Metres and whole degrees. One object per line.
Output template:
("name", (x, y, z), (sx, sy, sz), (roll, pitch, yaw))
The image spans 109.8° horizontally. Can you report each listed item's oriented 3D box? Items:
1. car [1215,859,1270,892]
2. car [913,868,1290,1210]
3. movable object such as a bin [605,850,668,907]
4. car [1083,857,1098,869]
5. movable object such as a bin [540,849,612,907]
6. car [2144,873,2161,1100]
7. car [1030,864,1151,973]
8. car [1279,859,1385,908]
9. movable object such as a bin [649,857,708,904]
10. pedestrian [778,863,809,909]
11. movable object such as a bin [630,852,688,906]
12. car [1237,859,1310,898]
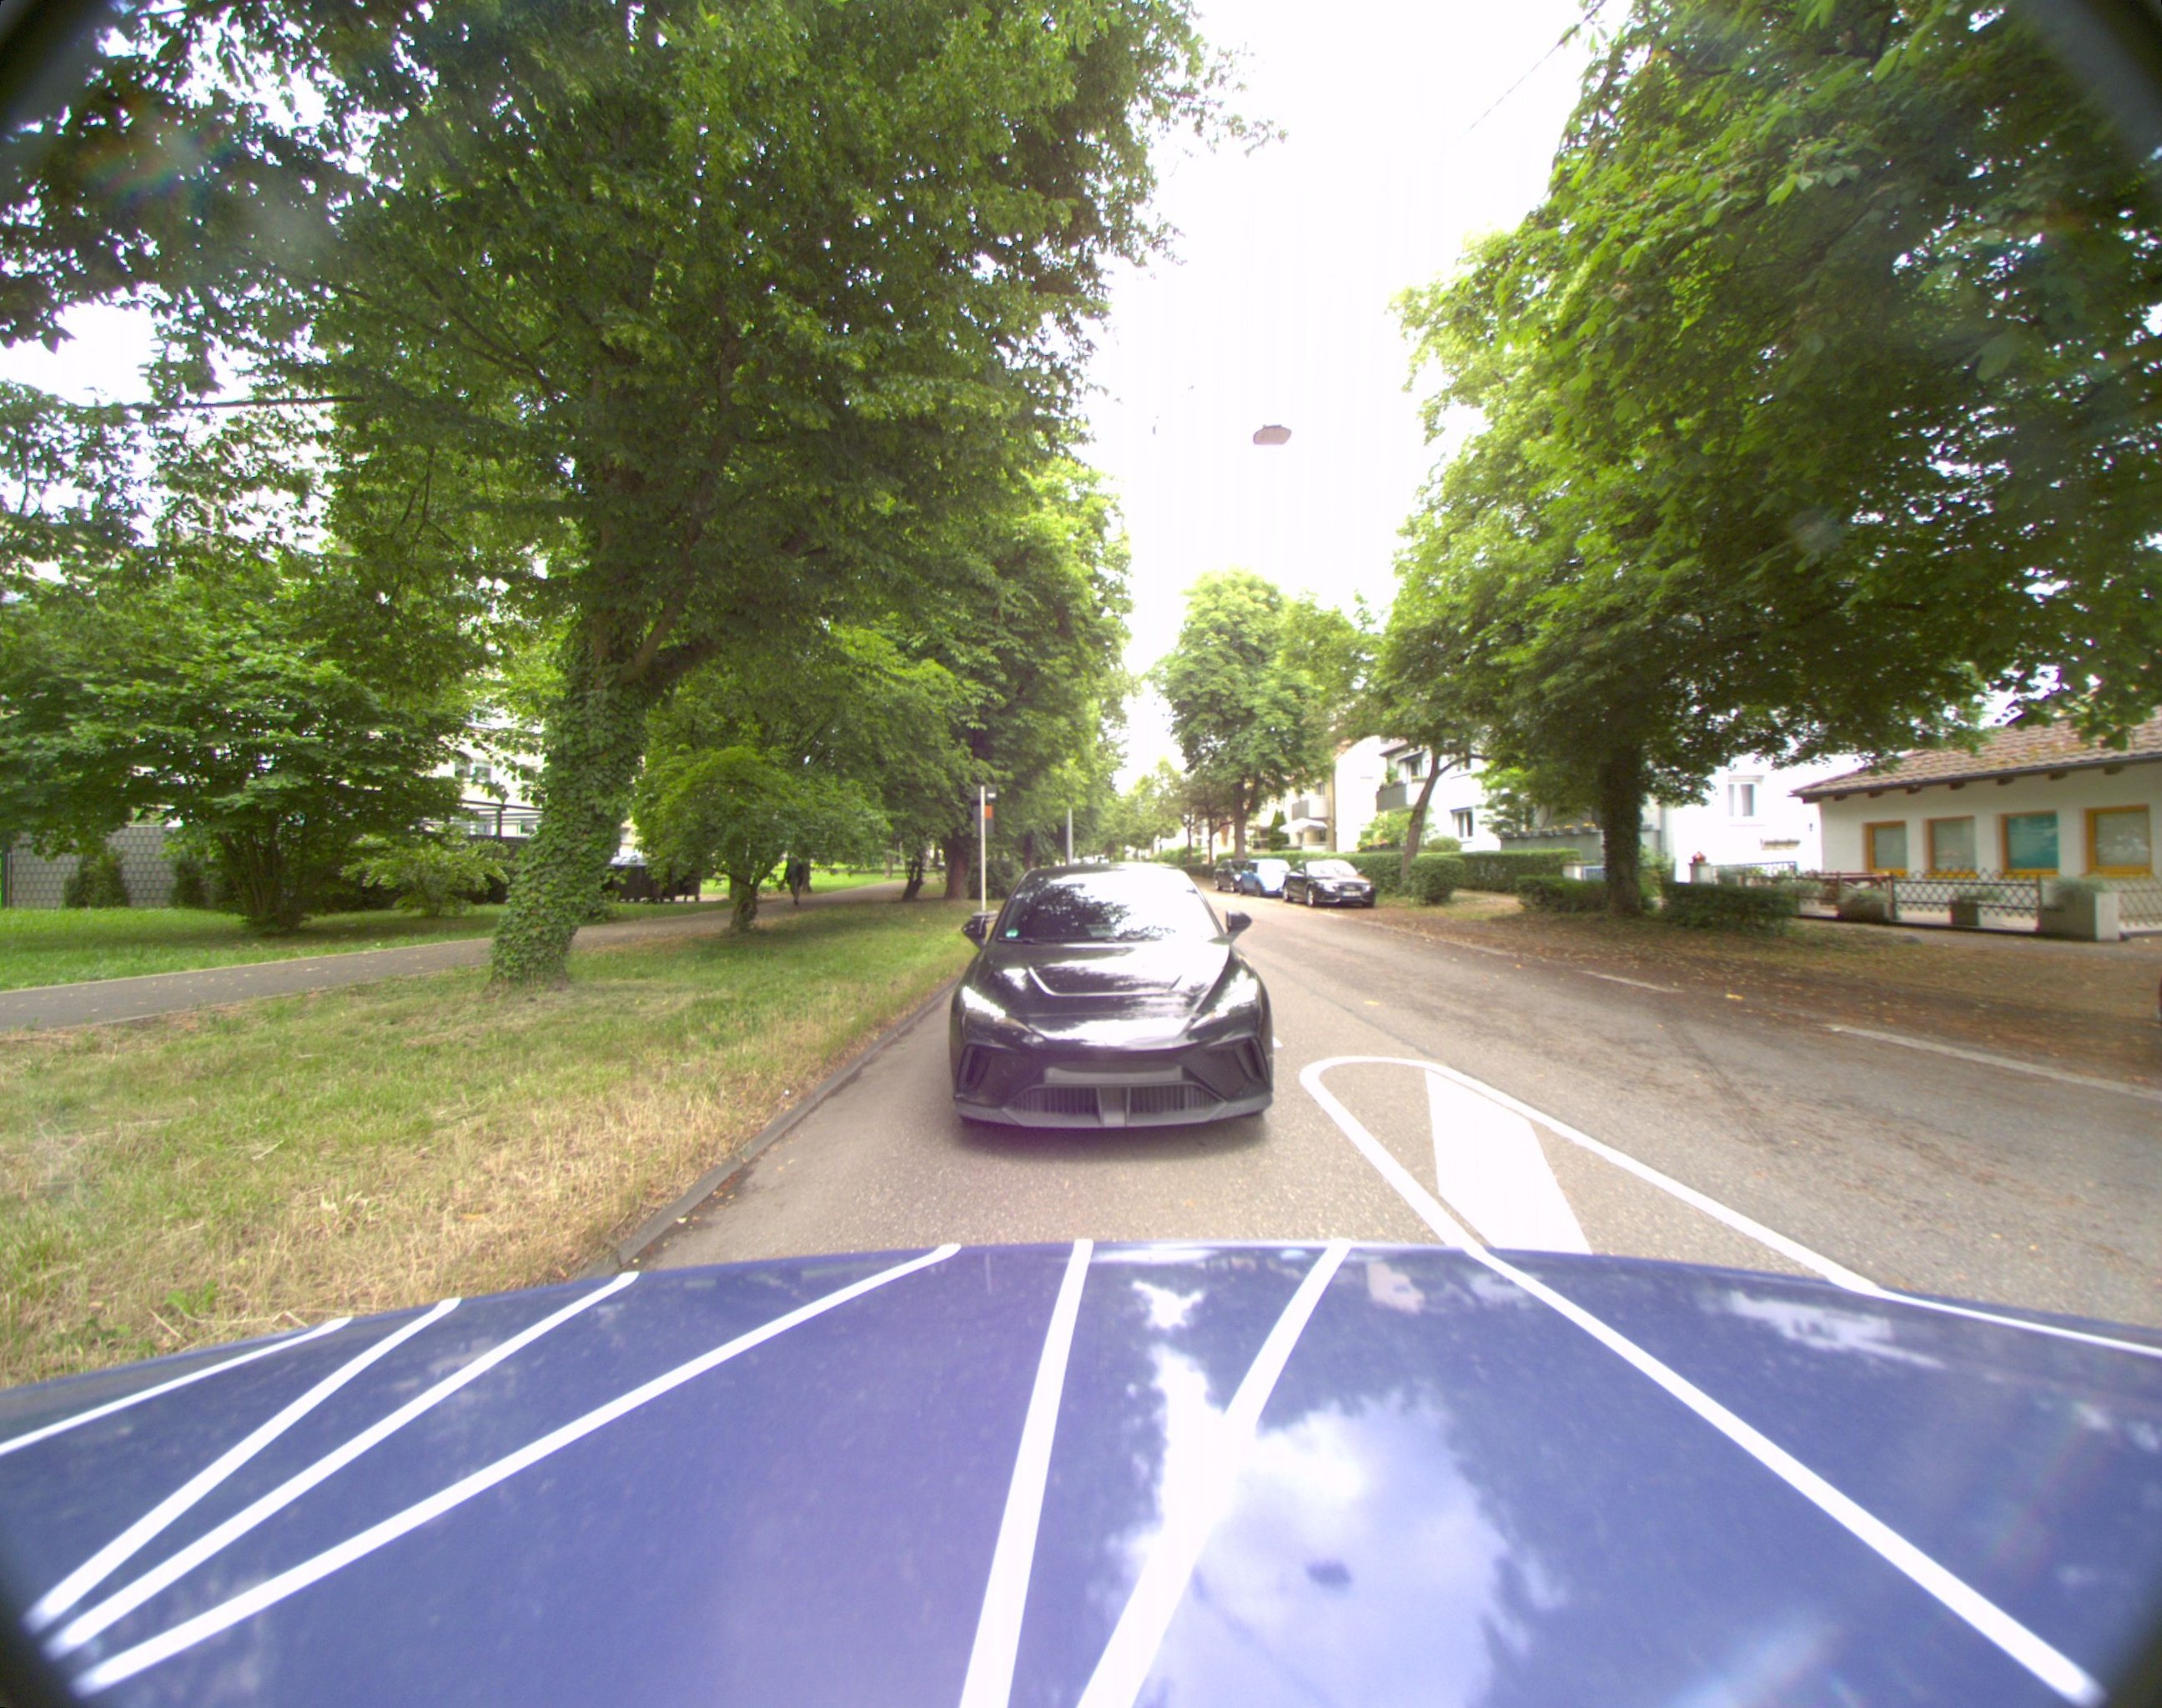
("car", (7.020, 0.912, 33.347), (1.541, 1.368, 3.771), (0, -1, -1))
("car", (0.205, 0.947, 5.839), (1.803, 1.541, 4.299), (-1, 0, 3))
("movable object such as a bin", (-13.210, 0.710, 22.601), (1.278, 1.633, 1.020), (1, 1, -4))
("car", (1.311, 1.246, 102.916), (1.999, 1.586, 4.000), (0, 0, 0))
("movable object such as a bin", (-14.836, 0.683, 22.361), (1.435, 1.633, 1.020), (1, 1, -4))
("car", (7.747, 0.841, 2.612), (1.749, 1.442, 4.593), (0, 0, 0))
("car", (0.191, 0.992, 13.378), (1.814, 1.520, 4.000), (0, 1, 1))
("car", (7.521, 0.843, 23.257), (1.852, 1.368, 4.594), (0, -1, 2))
("movable object such as a bin", (-13.293, 0.866, 25.146), (1.328, 1.466, 1.201), (1, 1, -4))
("pedestrian", (-8.732, 0.969, 23.082), (0.689, 1.373, 0.606), (0, 1, -2))
("movable object such as a bin", (-13.282, 0.779, 23.938), (1.240, 1.633, 1.075), (1, 1, -4))
("car", (7.177, 0.899, 28.739), (1.637, 1.368, 4.151), (0, -1, -1))
